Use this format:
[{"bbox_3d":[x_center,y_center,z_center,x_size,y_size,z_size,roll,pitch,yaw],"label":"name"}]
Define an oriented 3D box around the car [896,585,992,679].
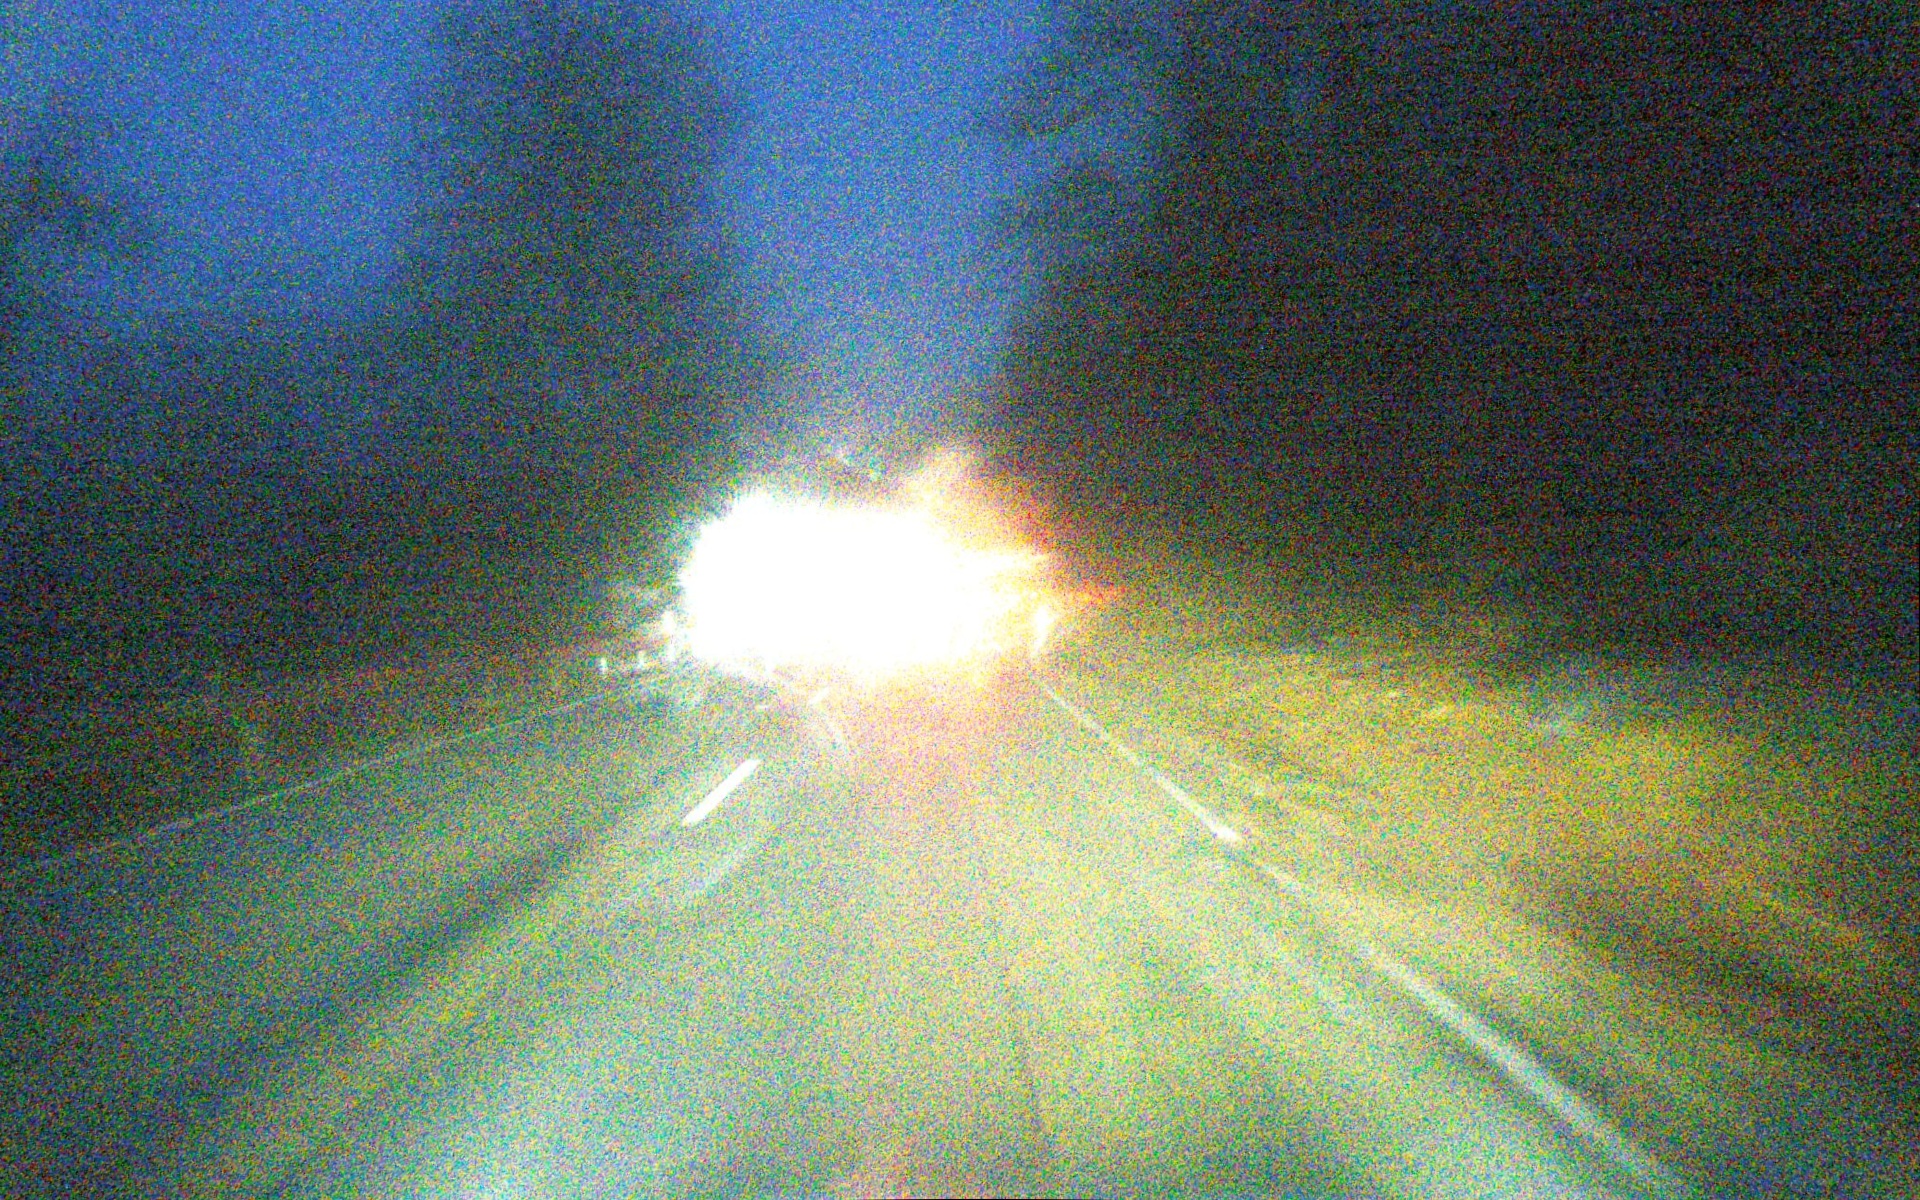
[{"bbox_3d":[-0.421,0.679,37.958,1.954,1.838,3.916,-2,2,-3],"label":"car"}]
